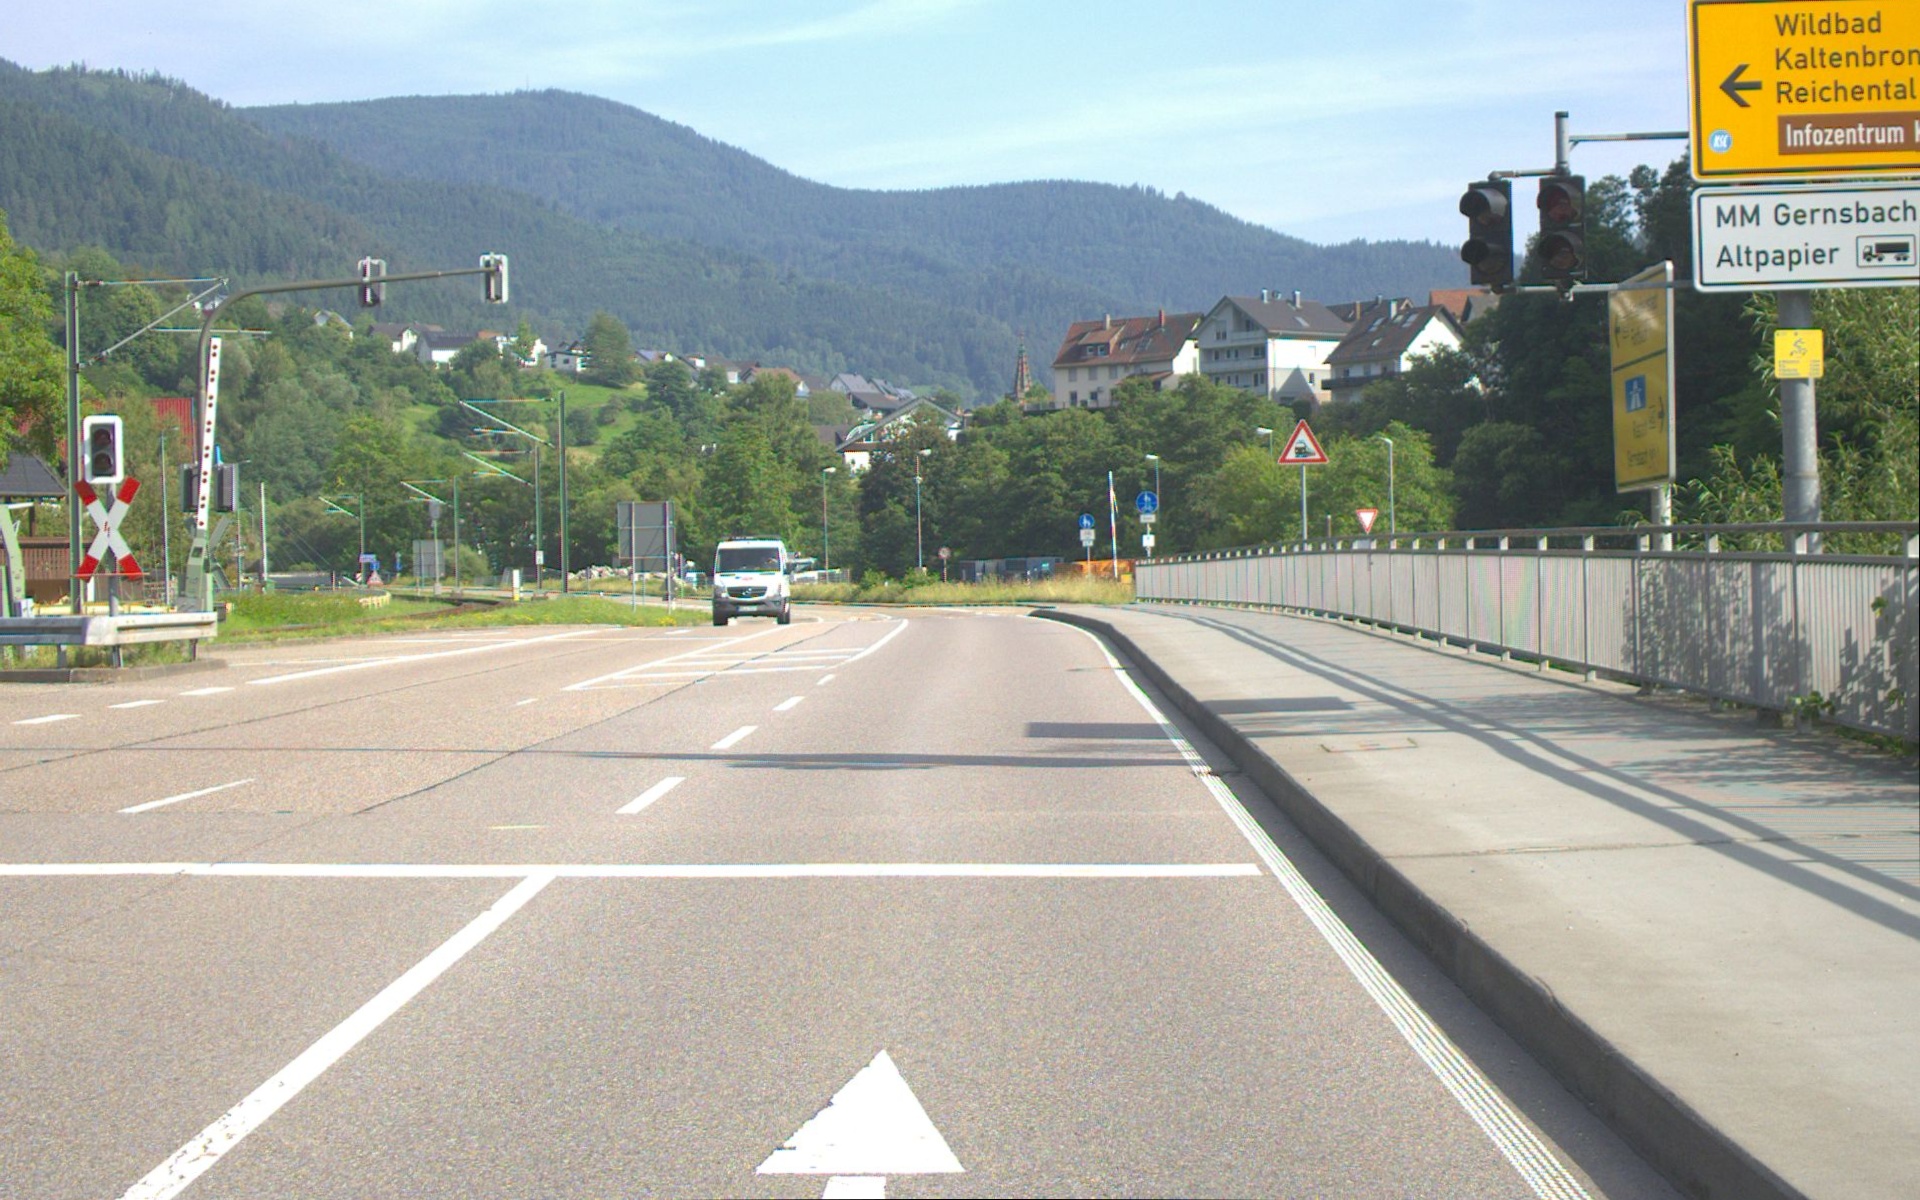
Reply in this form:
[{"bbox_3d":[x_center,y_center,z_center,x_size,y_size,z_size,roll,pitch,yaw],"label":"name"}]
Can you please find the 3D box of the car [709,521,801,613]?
[{"bbox_3d":[-5.582,-0.924,94.127,2.119,2.428,5.228,0,1,1],"label":"car"}]
